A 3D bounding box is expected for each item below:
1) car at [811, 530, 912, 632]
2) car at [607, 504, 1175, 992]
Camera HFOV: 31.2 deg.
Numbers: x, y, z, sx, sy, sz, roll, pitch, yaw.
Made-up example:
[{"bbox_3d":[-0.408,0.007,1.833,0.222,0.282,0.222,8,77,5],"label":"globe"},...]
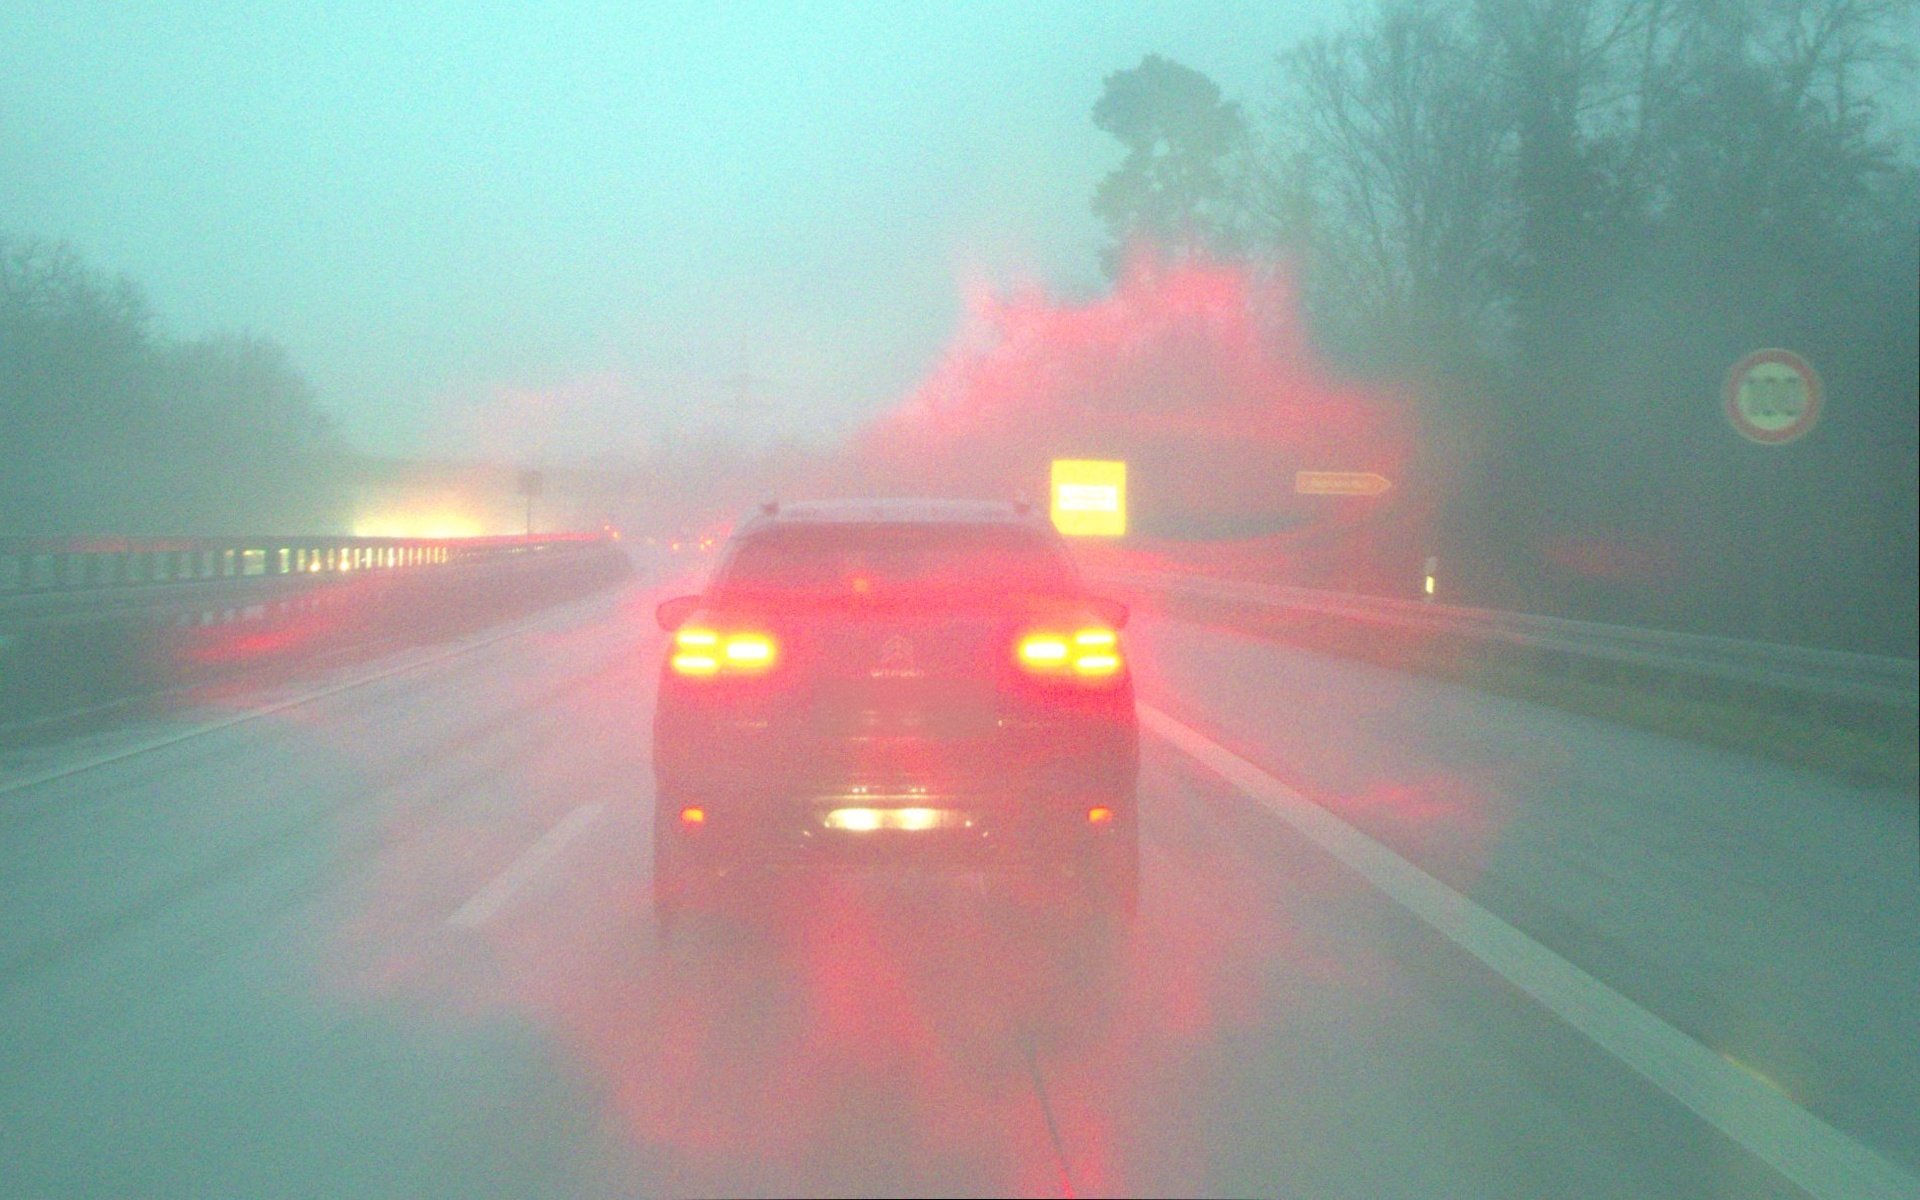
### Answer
[{"bbox_3d":[-2.013,-0.412,70.342,1.993,2.007,4.000,1,1,-2],"label":"car"},{"bbox_3d":[-0.290,0.492,14.061,1.992,1.709,3.830,1,1,-1],"label":"car"}]
